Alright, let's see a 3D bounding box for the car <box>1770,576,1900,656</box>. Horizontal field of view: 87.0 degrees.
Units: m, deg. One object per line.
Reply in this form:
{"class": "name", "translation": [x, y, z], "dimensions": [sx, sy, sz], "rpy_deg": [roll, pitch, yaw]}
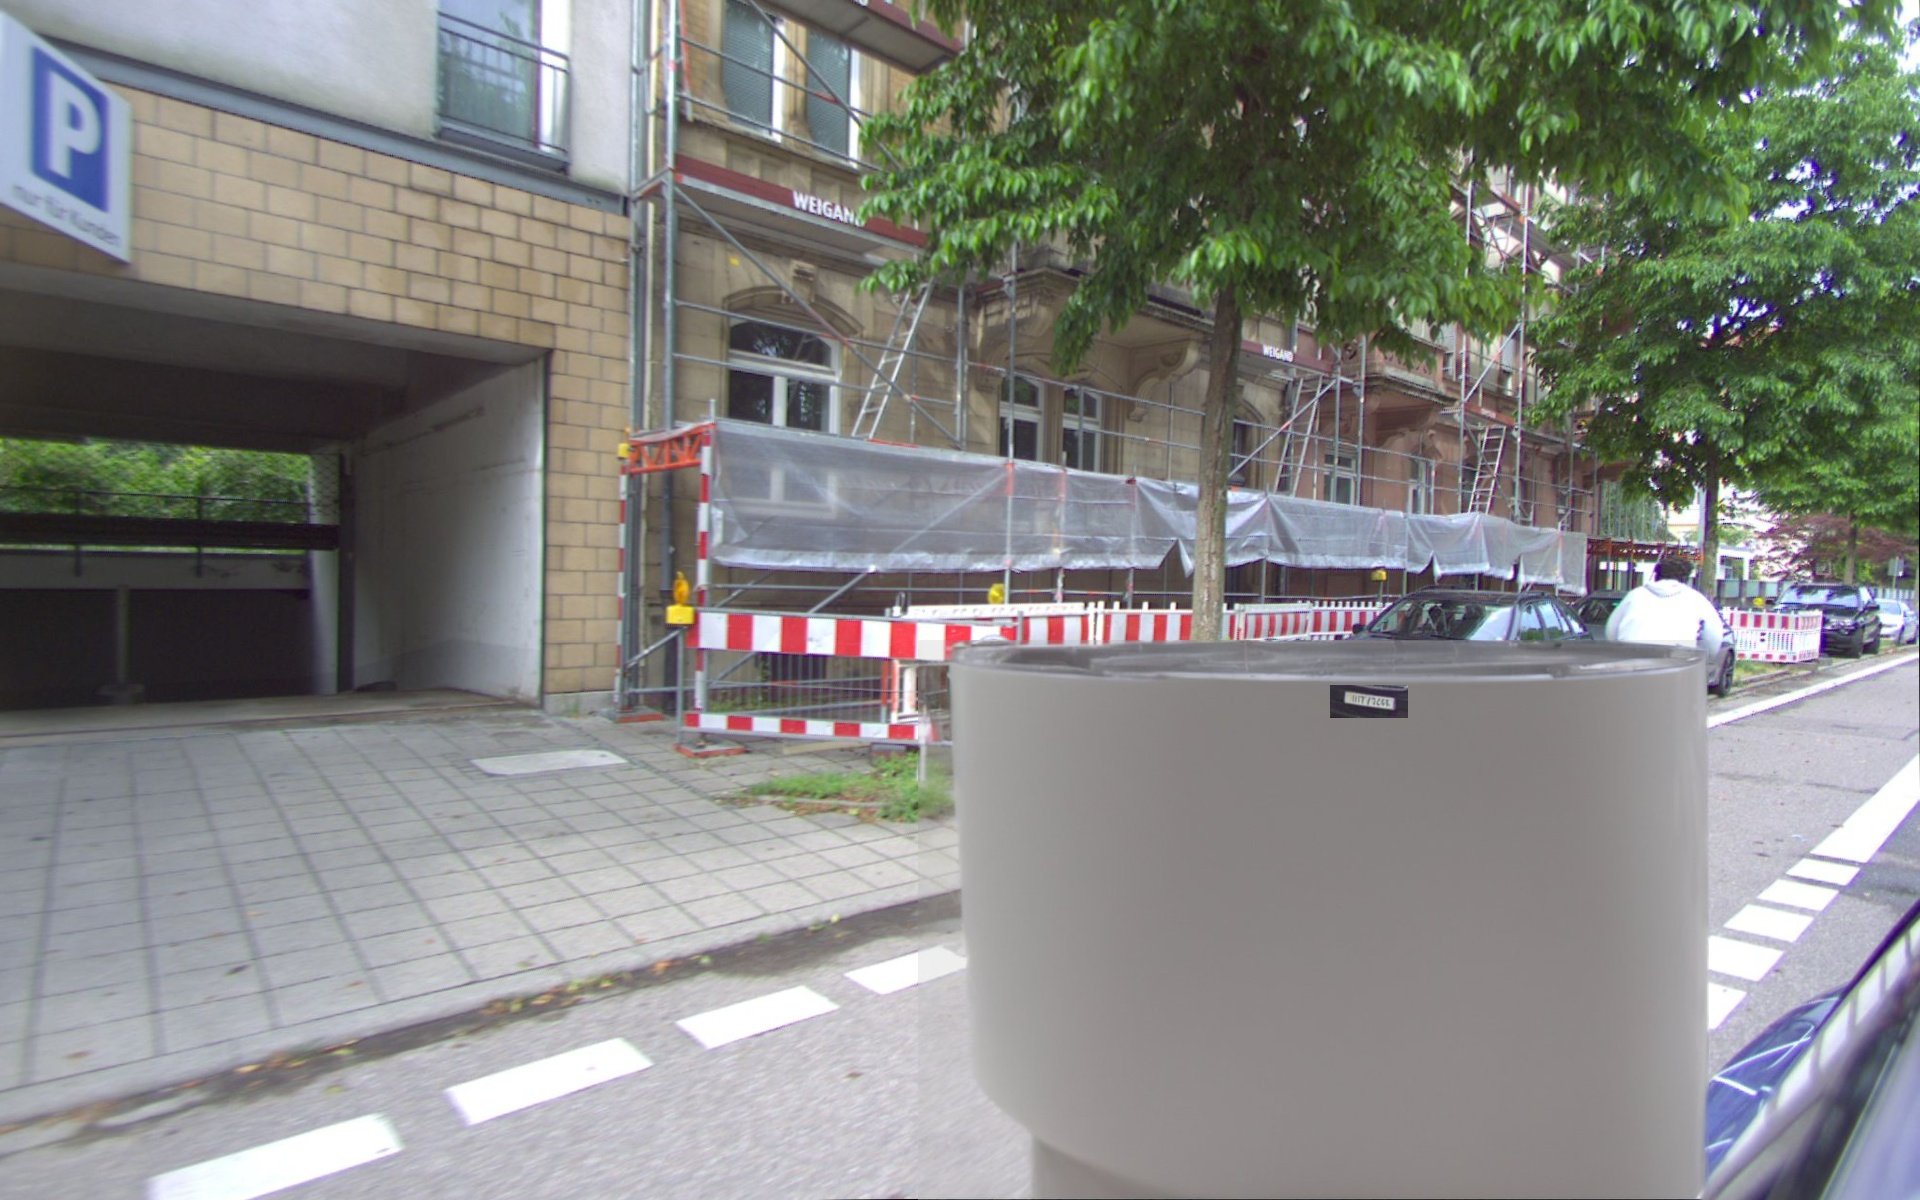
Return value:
{"class": "car", "translation": [21.613, 0.321, 24.955], "dimensions": [4.206, 1.751, 1.836], "rpy_deg": [-1, 3, -42]}

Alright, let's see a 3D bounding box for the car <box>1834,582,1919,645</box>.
{"class": "car", "translation": [28.401, 0.357, 31.064], "dimensions": [3.697, 1.716, 1.836], "rpy_deg": [-1, 3, -42]}

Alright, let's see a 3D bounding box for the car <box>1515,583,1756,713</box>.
{"class": "car", "translation": [9.539, 0.542, 14.161], "dimensions": [4.206, 1.478, 1.754], "rpy_deg": [-1, 3, -42]}

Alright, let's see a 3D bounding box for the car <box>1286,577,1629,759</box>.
{"class": "car", "translation": [5.363, 0.543, 10.667], "dimensions": [4.206, 1.478, 1.754], "rpy_deg": [-1, 3, -42]}

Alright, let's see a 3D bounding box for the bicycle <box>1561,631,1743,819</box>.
{"class": "bicycle", "translation": [5.133, 0.839, 7.452], "dimensions": [2.014, 1.137, 0.612], "rpy_deg": [-1, 0, -41]}

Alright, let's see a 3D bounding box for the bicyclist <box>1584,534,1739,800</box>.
{"class": "bicyclist", "translation": [5.170, 0.451, 7.458], "dimensions": [0.823, 1.809, 0.750], "rpy_deg": [0, 0, -41]}
